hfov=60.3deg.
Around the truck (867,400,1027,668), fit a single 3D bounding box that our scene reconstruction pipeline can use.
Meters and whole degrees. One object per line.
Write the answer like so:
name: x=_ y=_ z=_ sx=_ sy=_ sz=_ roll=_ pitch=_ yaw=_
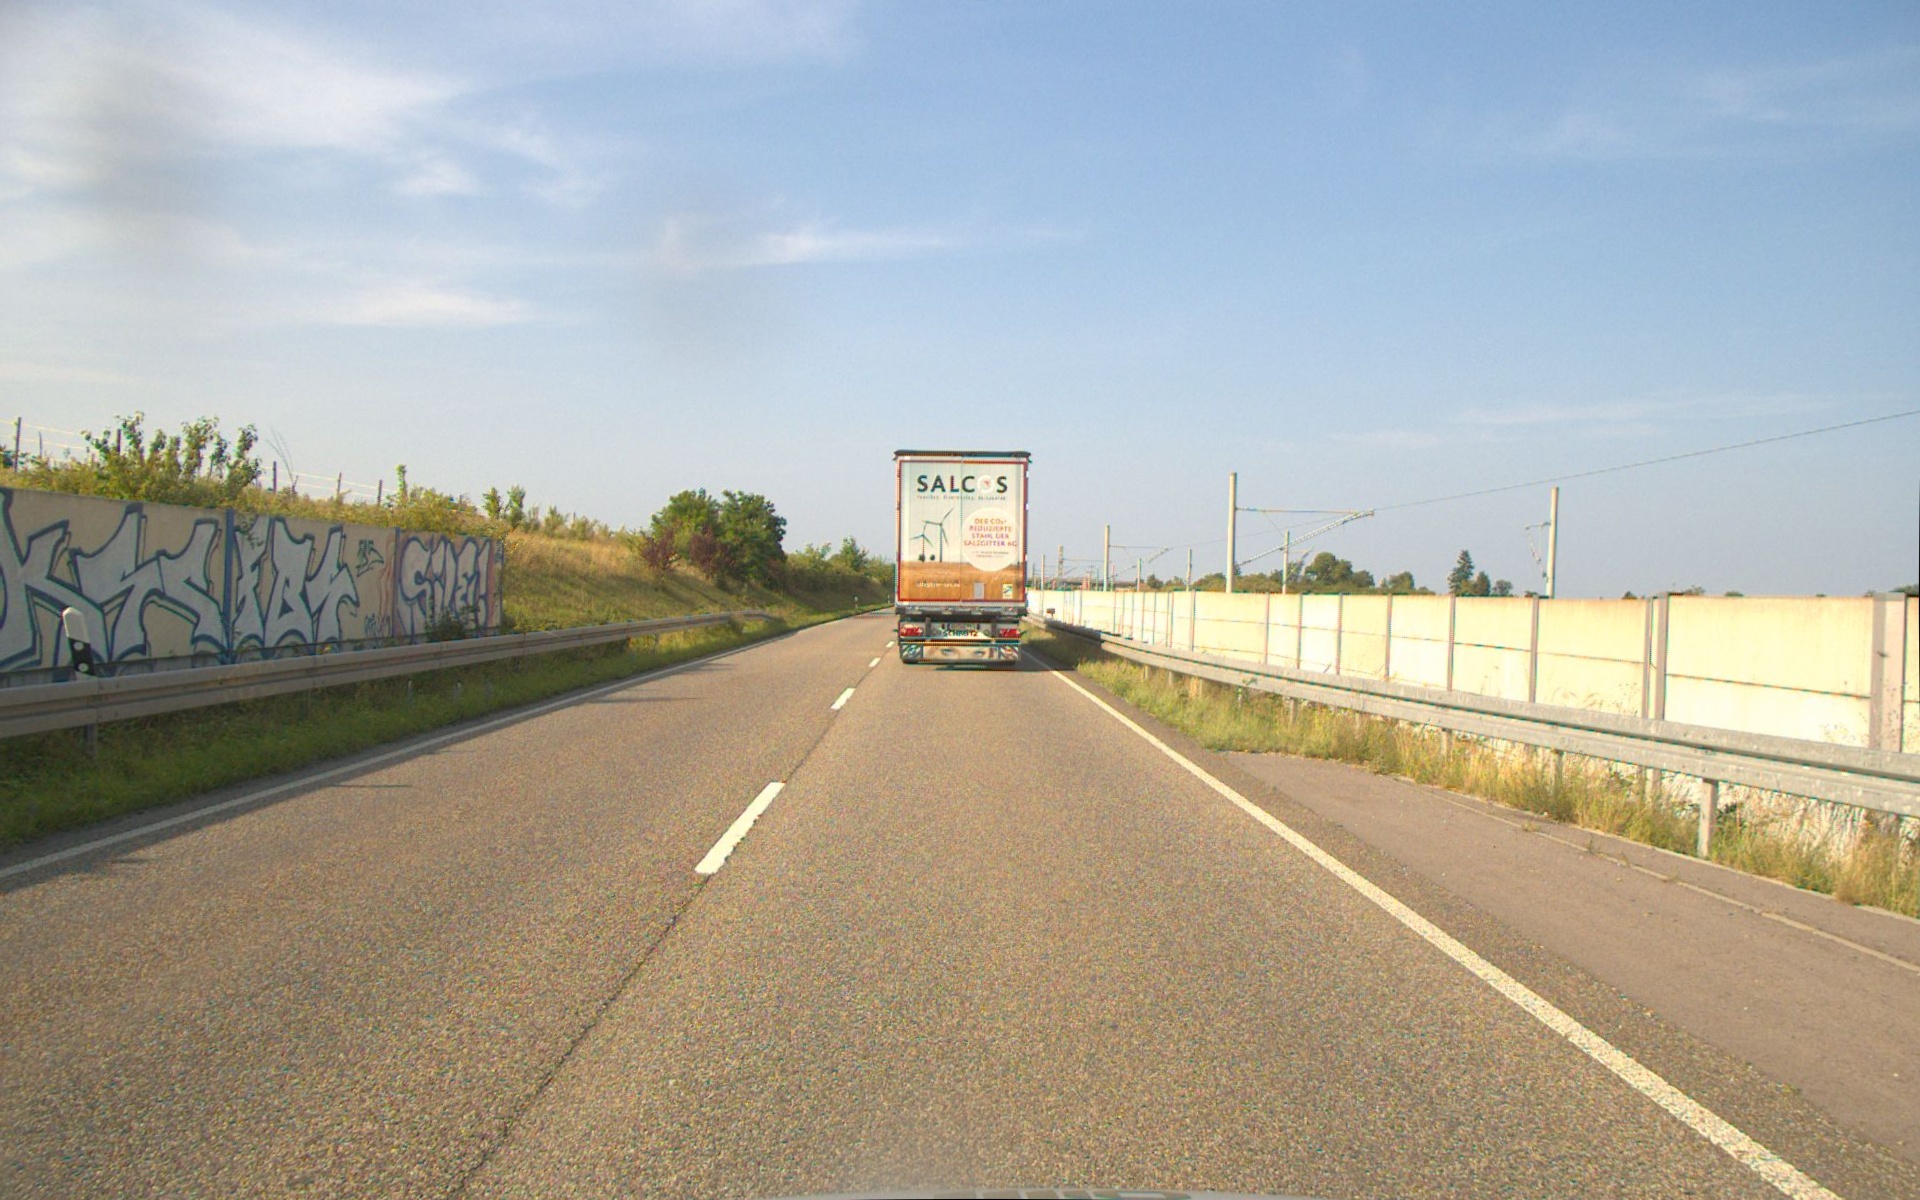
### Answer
truck: x=-0.339 y=-1.311 z=36.960 sx=2.971 sy=5.006 sz=11.682 roll=0 pitch=1 yaw=-1
